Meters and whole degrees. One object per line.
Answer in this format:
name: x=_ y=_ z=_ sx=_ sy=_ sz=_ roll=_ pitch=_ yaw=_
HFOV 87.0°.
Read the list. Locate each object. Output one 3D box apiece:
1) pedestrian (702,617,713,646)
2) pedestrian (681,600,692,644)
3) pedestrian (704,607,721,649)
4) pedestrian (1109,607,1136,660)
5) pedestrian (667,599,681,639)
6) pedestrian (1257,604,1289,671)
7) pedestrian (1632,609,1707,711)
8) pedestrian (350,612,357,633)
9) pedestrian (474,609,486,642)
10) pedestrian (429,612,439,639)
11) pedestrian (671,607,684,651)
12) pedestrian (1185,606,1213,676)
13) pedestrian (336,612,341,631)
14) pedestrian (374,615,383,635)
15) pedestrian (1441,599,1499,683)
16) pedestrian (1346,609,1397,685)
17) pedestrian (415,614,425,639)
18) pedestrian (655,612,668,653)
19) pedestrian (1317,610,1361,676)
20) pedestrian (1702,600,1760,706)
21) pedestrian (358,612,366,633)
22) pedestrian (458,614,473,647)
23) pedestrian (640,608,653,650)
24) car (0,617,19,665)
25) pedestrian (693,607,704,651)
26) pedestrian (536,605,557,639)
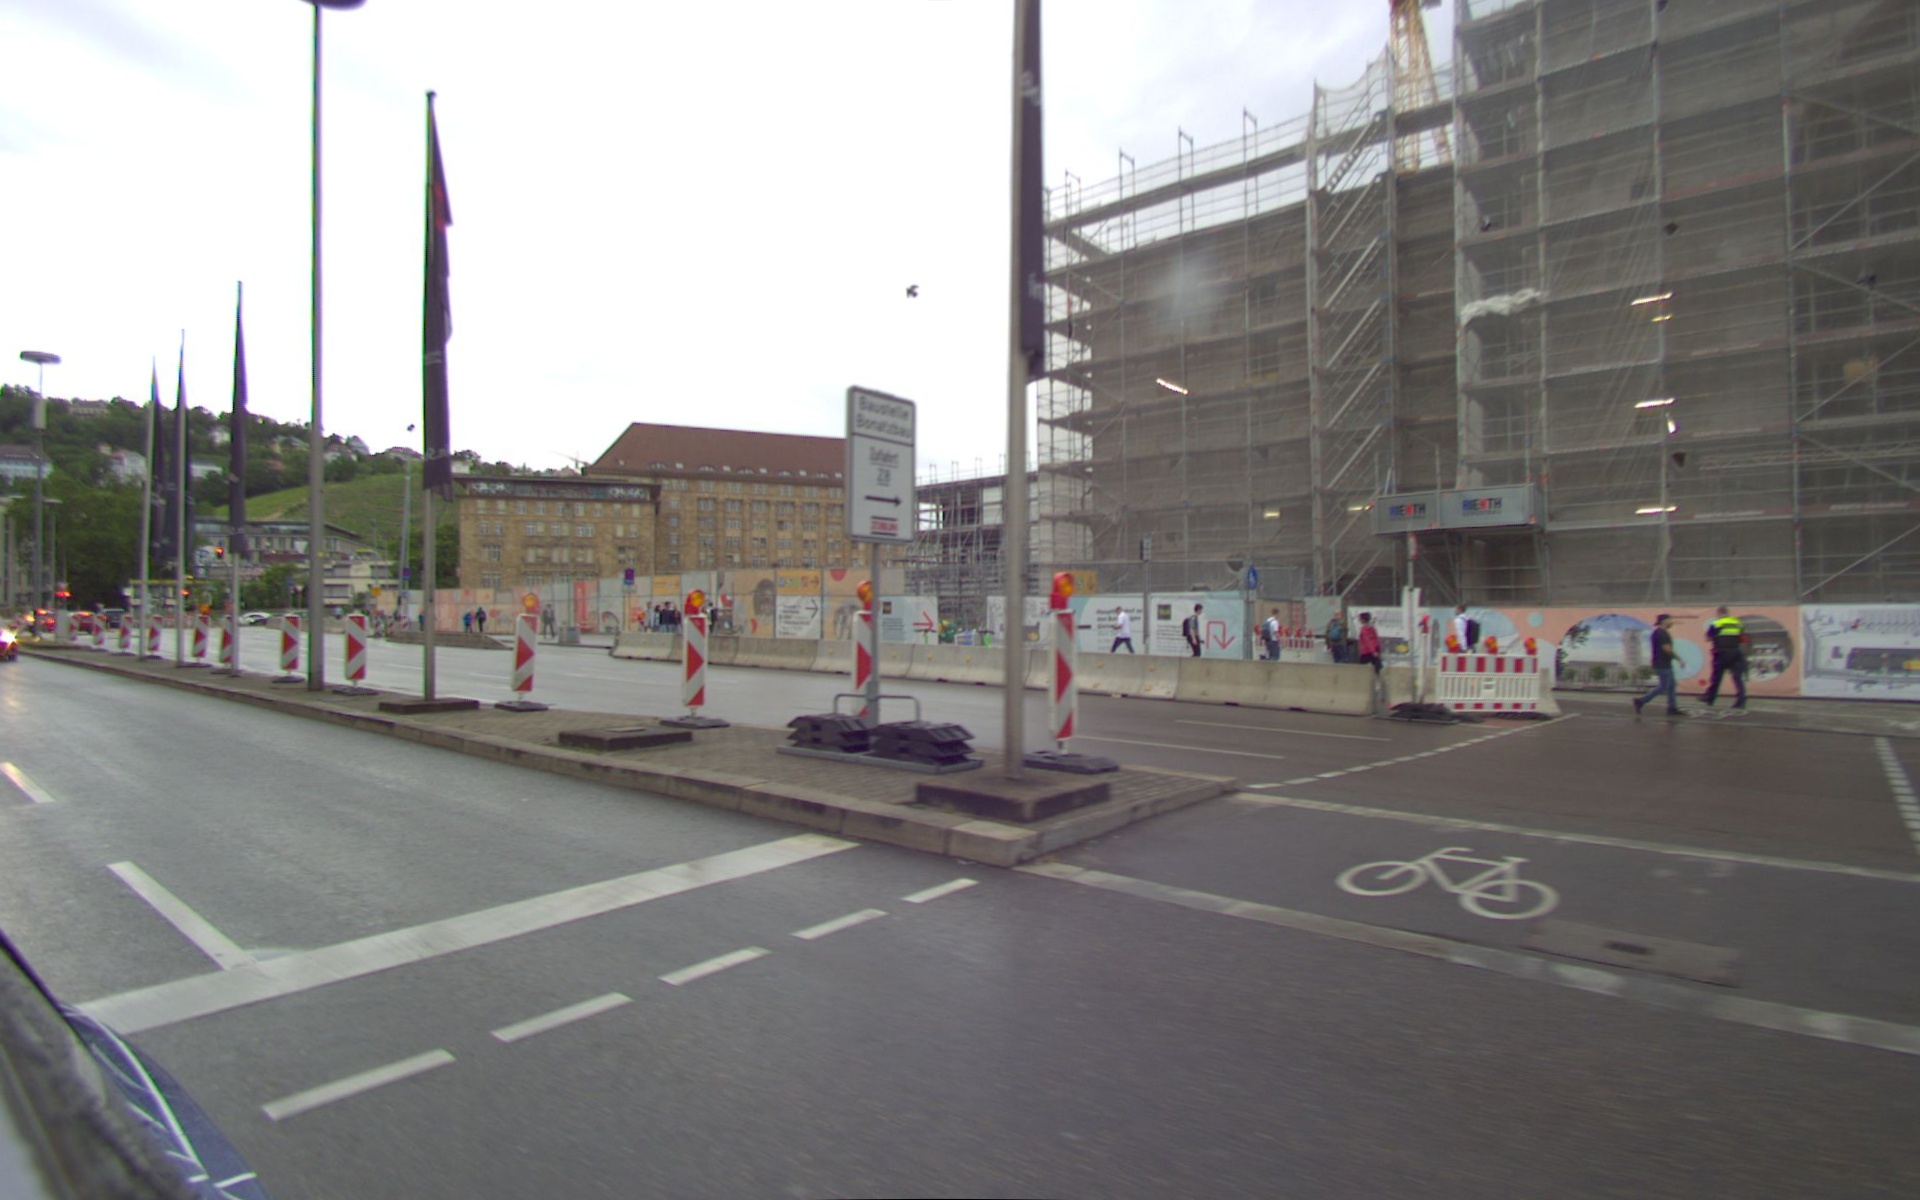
pedestrian: x=-10.323 y=1.284 z=41.405 sx=0.251 sy=1.202 sz=0.390 roll=-1 pitch=0 yaw=-43
pedestrian: x=-11.114 y=0.887 z=41.109 sx=0.346 sy=1.783 sz=0.306 roll=-2 pitch=-1 yaw=44
pedestrian: x=-10.322 y=1.160 z=42.177 sx=0.463 sy=1.768 sz=0.511 roll=-1 pitch=0 yaw=41
pedestrian: x=4.586 y=0.940 z=28.565 sx=0.557 sy=1.454 sz=0.529 roll=1 pitch=-2 yaw=-42
pedestrian: x=-11.772 y=0.796 z=41.655 sx=0.395 sy=1.633 sz=0.365 roll=-1 pitch=0 yaw=-45
pedestrian: x=8.007 y=0.953 z=25.900 sx=0.657 sy=1.677 sz=0.697 roll=0 pitch=-1 yaw=5
pedestrian: x=12.195 y=1.000 z=17.390 sx=0.963 sy=1.694 sz=0.746 roll=-1 pitch=-1 yaw=41
pedestrian: x=-47.287 y=1.717 z=78.889 sx=0.357 sy=1.628 sz=0.370 roll=-2 pitch=-1 yaw=41
pedestrian: x=-30.110 y=1.590 z=63.510 sx=0.490 sy=2.029 sz=0.535 roll=-1 pitch=0 yaw=41
pedestrian: x=-32.298 y=1.564 z=62.179 sx=0.413 sy=1.628 sz=0.433 roll=-2 pitch=-1 yaw=41
pedestrian: x=-11.406 y=1.176 z=40.846 sx=0.365 sy=1.783 sz=0.363 roll=-2 pitch=-1 yaw=42
pedestrian: x=6.222 y=1.066 z=26.380 sx=0.645 sy=1.782 sz=0.523 roll=-1 pitch=-1 yaw=19
pedestrian: x=-54.355 y=1.908 z=88.488 sx=0.323 sy=1.628 sz=0.330 roll=-2 pitch=-1 yaw=41
pedestrian: x=-42.478 y=1.825 z=73.947 sx=0.413 sy=1.425 sz=0.433 roll=-2 pitch=-1 yaw=41
pedestrian: x=10.393 y=0.821 z=20.633 sx=0.872 sy=1.677 sz=0.746 roll=-1 pitch=-2 yaw=42
pedestrian: x=8.785 y=0.990 z=21.607 sx=0.709 sy=1.578 sz=0.941 roll=-1 pitch=-1 yaw=42
pedestrian: x=-35.152 y=1.735 z=65.881 sx=0.413 sy=1.628 sz=0.433 roll=-2 pitch=-1 yaw=41
pedestrian: x=-11.932 y=1.285 z=40.460 sx=0.321 sy=1.628 sz=0.345 roll=-2 pitch=-1 yaw=42
pedestrian: x=10.149 y=1.136 z=27.077 sx=0.951 sy=1.749 sz=0.701 roll=-1 pitch=-1 yaw=33
pedestrian: x=13.783 y=0.928 z=18.119 sx=0.755 sy=1.826 sz=0.862 roll=-1 pitch=-1 yaw=36
pedestrian: x=-46.867 y=1.731 z=79.321 sx=0.413 sy=1.628 sz=0.382 roll=-2 pitch=-1 yaw=40
pedestrian: x=-30.483 y=1.872 z=62.387 sx=0.685 sy=2.049 sz=0.585 roll=-2 pitch=-1 yaw=41
pedestrian: x=-13.508 y=1.252 z=43.631 sx=0.391 sy=1.783 sz=0.363 roll=-2 pitch=-1 yaw=44
car: x=-29.515 y=1.212 z=30.199 sx=3.998 sy=1.388 sz=1.724 roll=-1 pitch=-1 yaw=41
pedestrian: x=-10.668 y=1.181 z=41.254 sx=0.268 sy=1.783 sz=0.310 roll=-1 pitch=0 yaw=44
pedestrian: x=-20.813 y=1.106 z=50.917 sx=0.617 sy=1.697 sz=0.796 roll=-2 pitch=-2 yaw=44
